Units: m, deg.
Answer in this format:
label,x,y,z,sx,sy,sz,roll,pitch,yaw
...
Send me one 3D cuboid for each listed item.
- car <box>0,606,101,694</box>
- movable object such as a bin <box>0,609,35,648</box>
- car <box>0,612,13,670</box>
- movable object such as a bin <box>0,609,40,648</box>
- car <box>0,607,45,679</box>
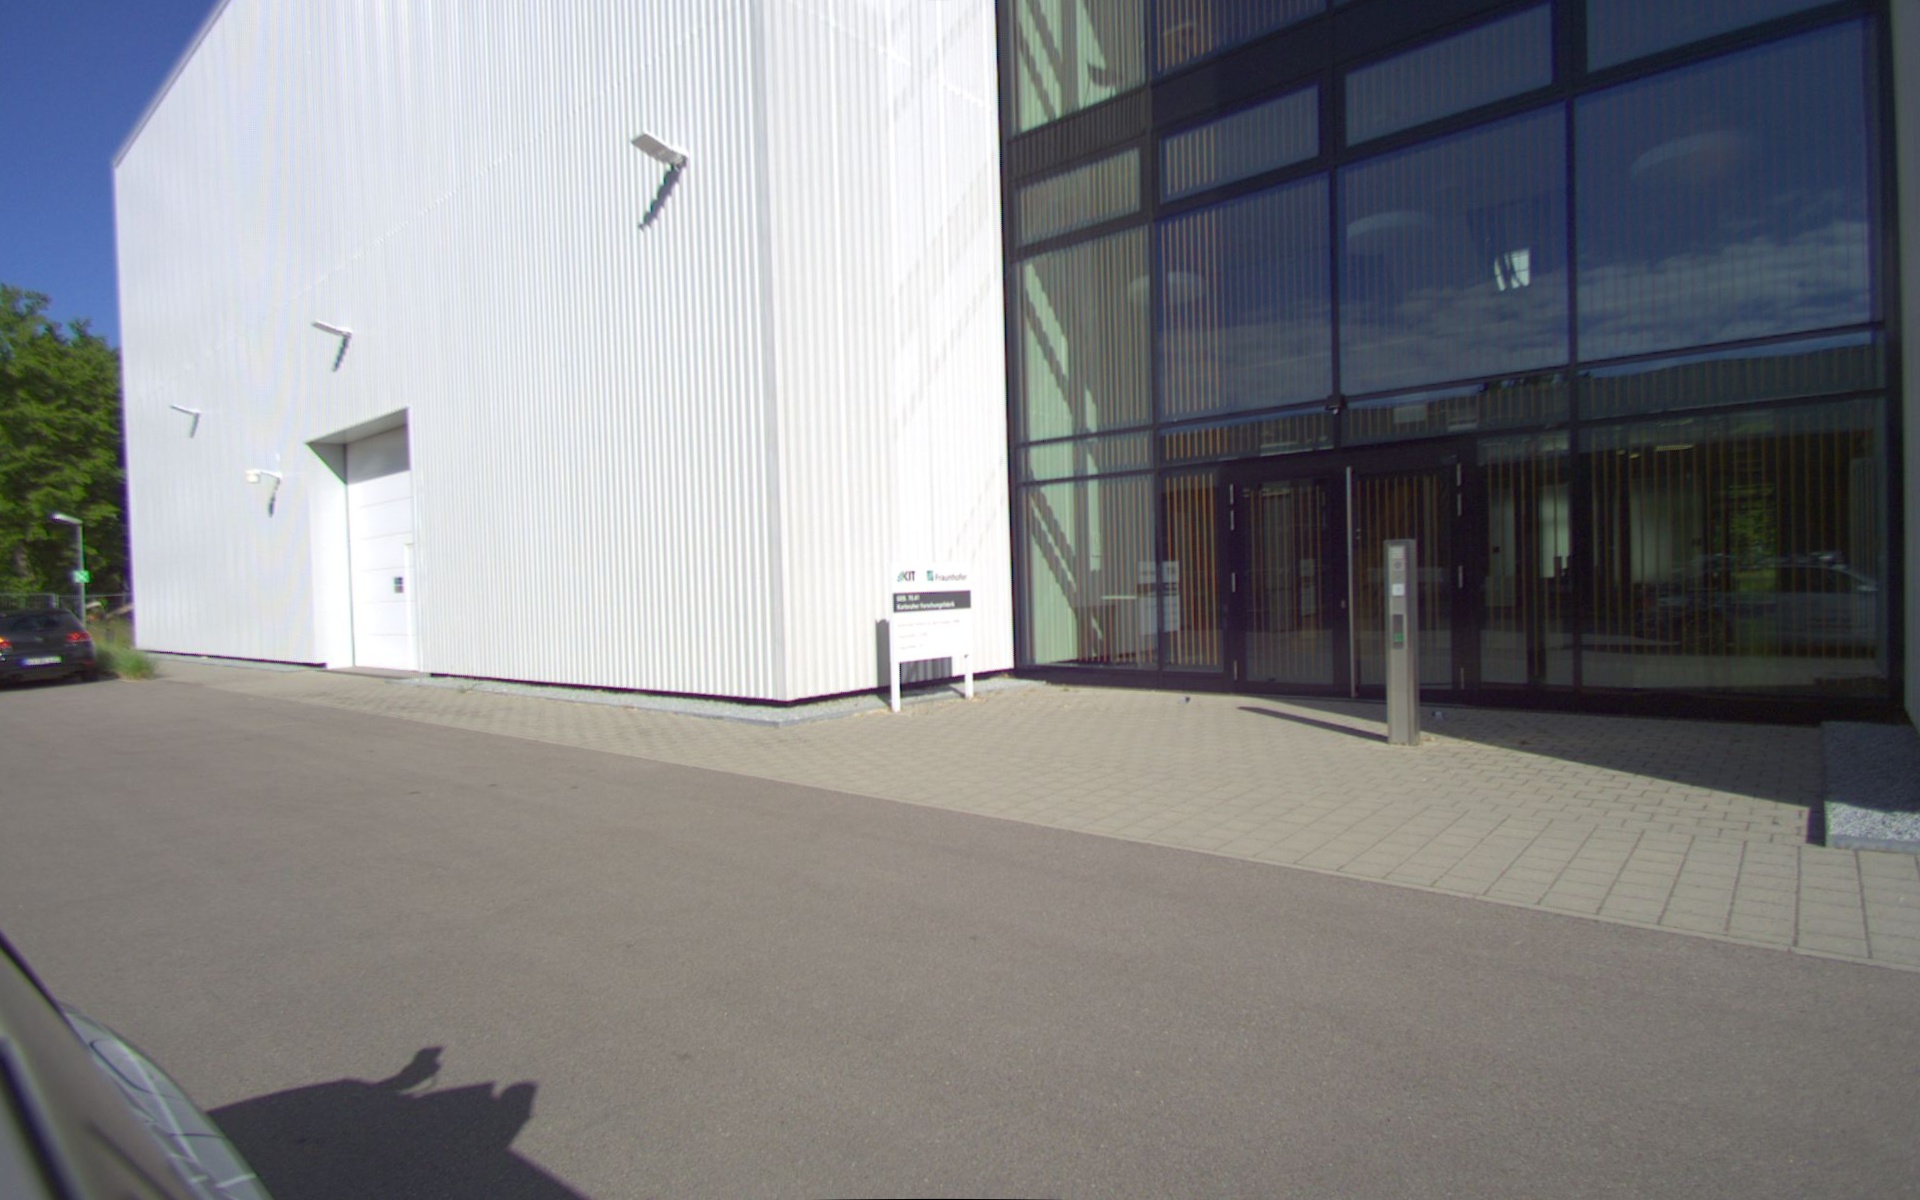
label,x,y,z,sx,sy,sz,roll,pitch,yaw
car,-18.191,0.944,19.583,4.313,1.456,1.738,-2,2,41
movable object such as a bin,-37.056,1.104,39.621,1.279,1.489,1.126,-3,-2,42
car,-26.033,1.124,26.180,3.794,1.459,1.695,-2,2,39
movable object such as a bin,-36.041,1.079,38.712,1.288,1.445,1.126,-1,-1,42
car,-21.852,0.983,22.598,3.519,1.499,1.533,-2,2,39
